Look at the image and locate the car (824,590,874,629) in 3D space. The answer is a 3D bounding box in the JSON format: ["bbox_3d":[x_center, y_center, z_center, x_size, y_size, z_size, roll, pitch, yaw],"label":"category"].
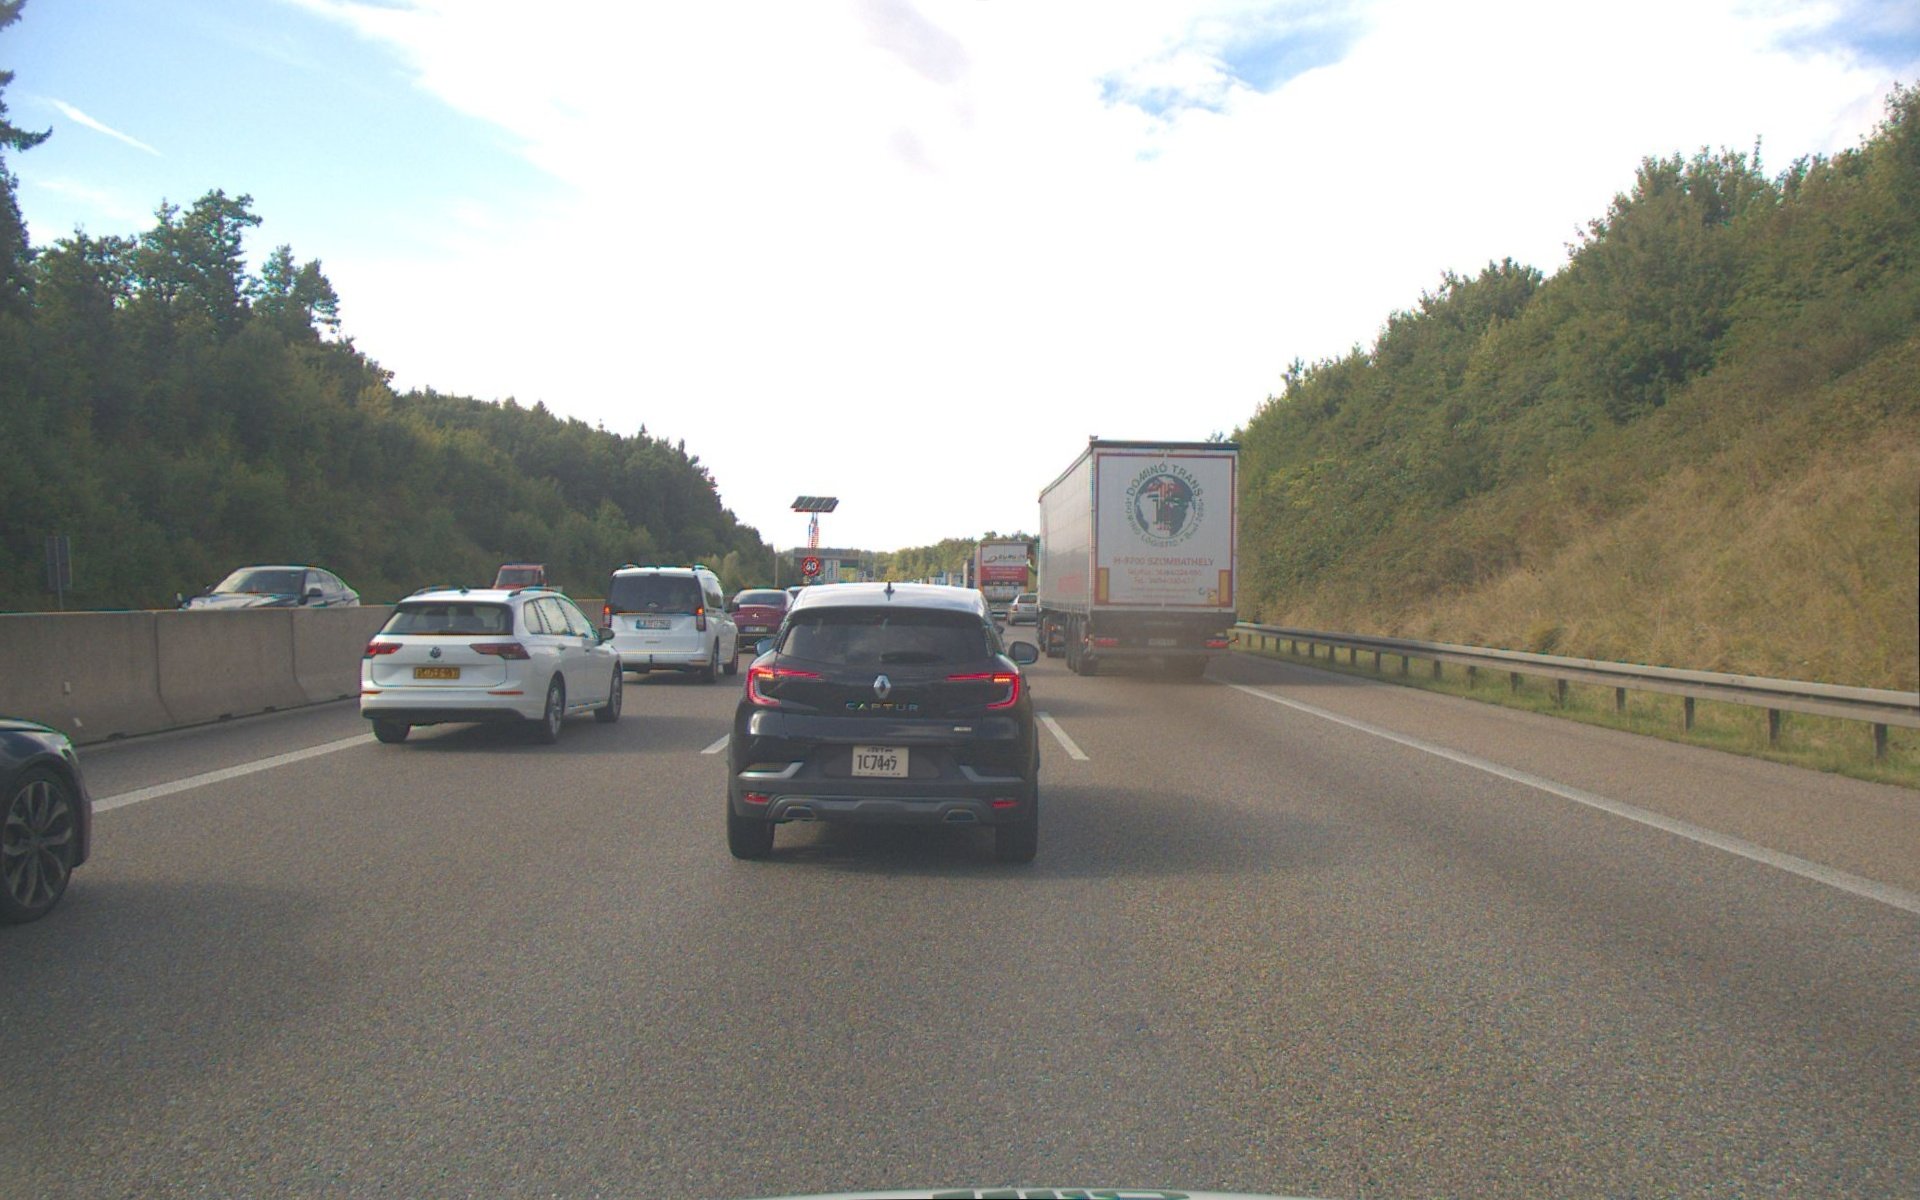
[{"bbox_3d":[-4.909,0.411,73.700,1.953,1.641,4.000,1,0,0],"label":"car"}]

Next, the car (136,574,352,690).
[{"bbox_3d":[-12.445,0.506,29.102,1.814,1.841,4.624,1,0,-1],"label":"car"}]

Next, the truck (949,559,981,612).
[{"bbox_3d":[0.598,-1.523,181.819,3.101,5.601,12.740,1,0,2],"label":"truck"}]

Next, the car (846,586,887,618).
[{"bbox_3d":[-4.956,0.110,88.281,1.953,1.641,4.000,1,0,0],"label":"car"}]

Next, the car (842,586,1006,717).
[{"bbox_3d":[-0.431,0.626,21.930,1.953,1.540,4.000,1,0,0],"label":"car"}]

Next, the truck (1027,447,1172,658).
[{"bbox_3d":[3.272,-1.097,40.371,2.936,4.749,5.938,1,0,-1],"label":"truck"}]

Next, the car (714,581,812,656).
[{"bbox_3d":[-4.654,0.422,39.658,1.817,1.669,3.925,1,0,0],"label":"car"}]

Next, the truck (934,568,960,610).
[{"bbox_3d":[-1.666,-1.422,215.220,3.101,5.249,12.737,1,0,0],"label":"truck"}]

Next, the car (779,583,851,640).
[{"bbox_3d":[-4.670,0.352,53.776,1.953,1.752,4.000,1,0,0],"label":"car"}]

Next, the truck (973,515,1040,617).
[{"bbox_3d":[2.434,-1.720,90.926,3.296,5.132,12.737,1,0,0],"label":"truck"}]

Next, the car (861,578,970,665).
[{"bbox_3d":[-0.807,0.400,31.918,1.953,1.540,4.000,1,0,0],"label":"car"}]

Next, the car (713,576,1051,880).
[{"bbox_3d":[-0.344,0.668,10.697,1.767,1.579,4.001,0,0,2],"label":"car"}]

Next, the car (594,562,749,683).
[{"bbox_3d":[-4.711,0.348,27.588,1.873,1.821,4.416,1,0,-1],"label":"car"}]

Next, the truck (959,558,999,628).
[{"bbox_3d":[1.579,-0.565,140.402,3.101,5.601,12.737,1,0,0],"label":"truck"}]

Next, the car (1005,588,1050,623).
[{"bbox_3d":[3.033,0.250,75.162,1.768,1.559,3.924,1,0,-1],"label":"car"}]

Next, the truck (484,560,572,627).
[{"bbox_3d":[-19.655,-0.299,75.587,2.373,2.905,6.429,1,0,-1],"label":"truck"}]

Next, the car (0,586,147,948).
[{"bbox_3d":[-4.840,0.684,5.603,1.805,1.481,4.747,1,0,0],"label":"car"}]

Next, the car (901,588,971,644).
[{"bbox_3d":[-0.668,0.454,48.150,1.953,1.540,4.000,1,0,0],"label":"car"}]

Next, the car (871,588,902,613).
[{"bbox_3d":[-5.003,0.037,113.174,1.953,1.641,4.000,1,0,0],"label":"car"}]

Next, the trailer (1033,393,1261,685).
[{"bbox_3d":[3.357,-1.047,33.778,2.941,4.742,13.288,1,0,-1],"label":"trailer"}]

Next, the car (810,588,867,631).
[{"bbox_3d":[-4.822,0.389,66.167,1.953,1.641,4.000,1,0,0],"label":"car"}]

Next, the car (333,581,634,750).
[{"bbox_3d":[-4.665,0.588,16.878,1.767,1.486,4.308,1,0,1],"label":"car"}]
